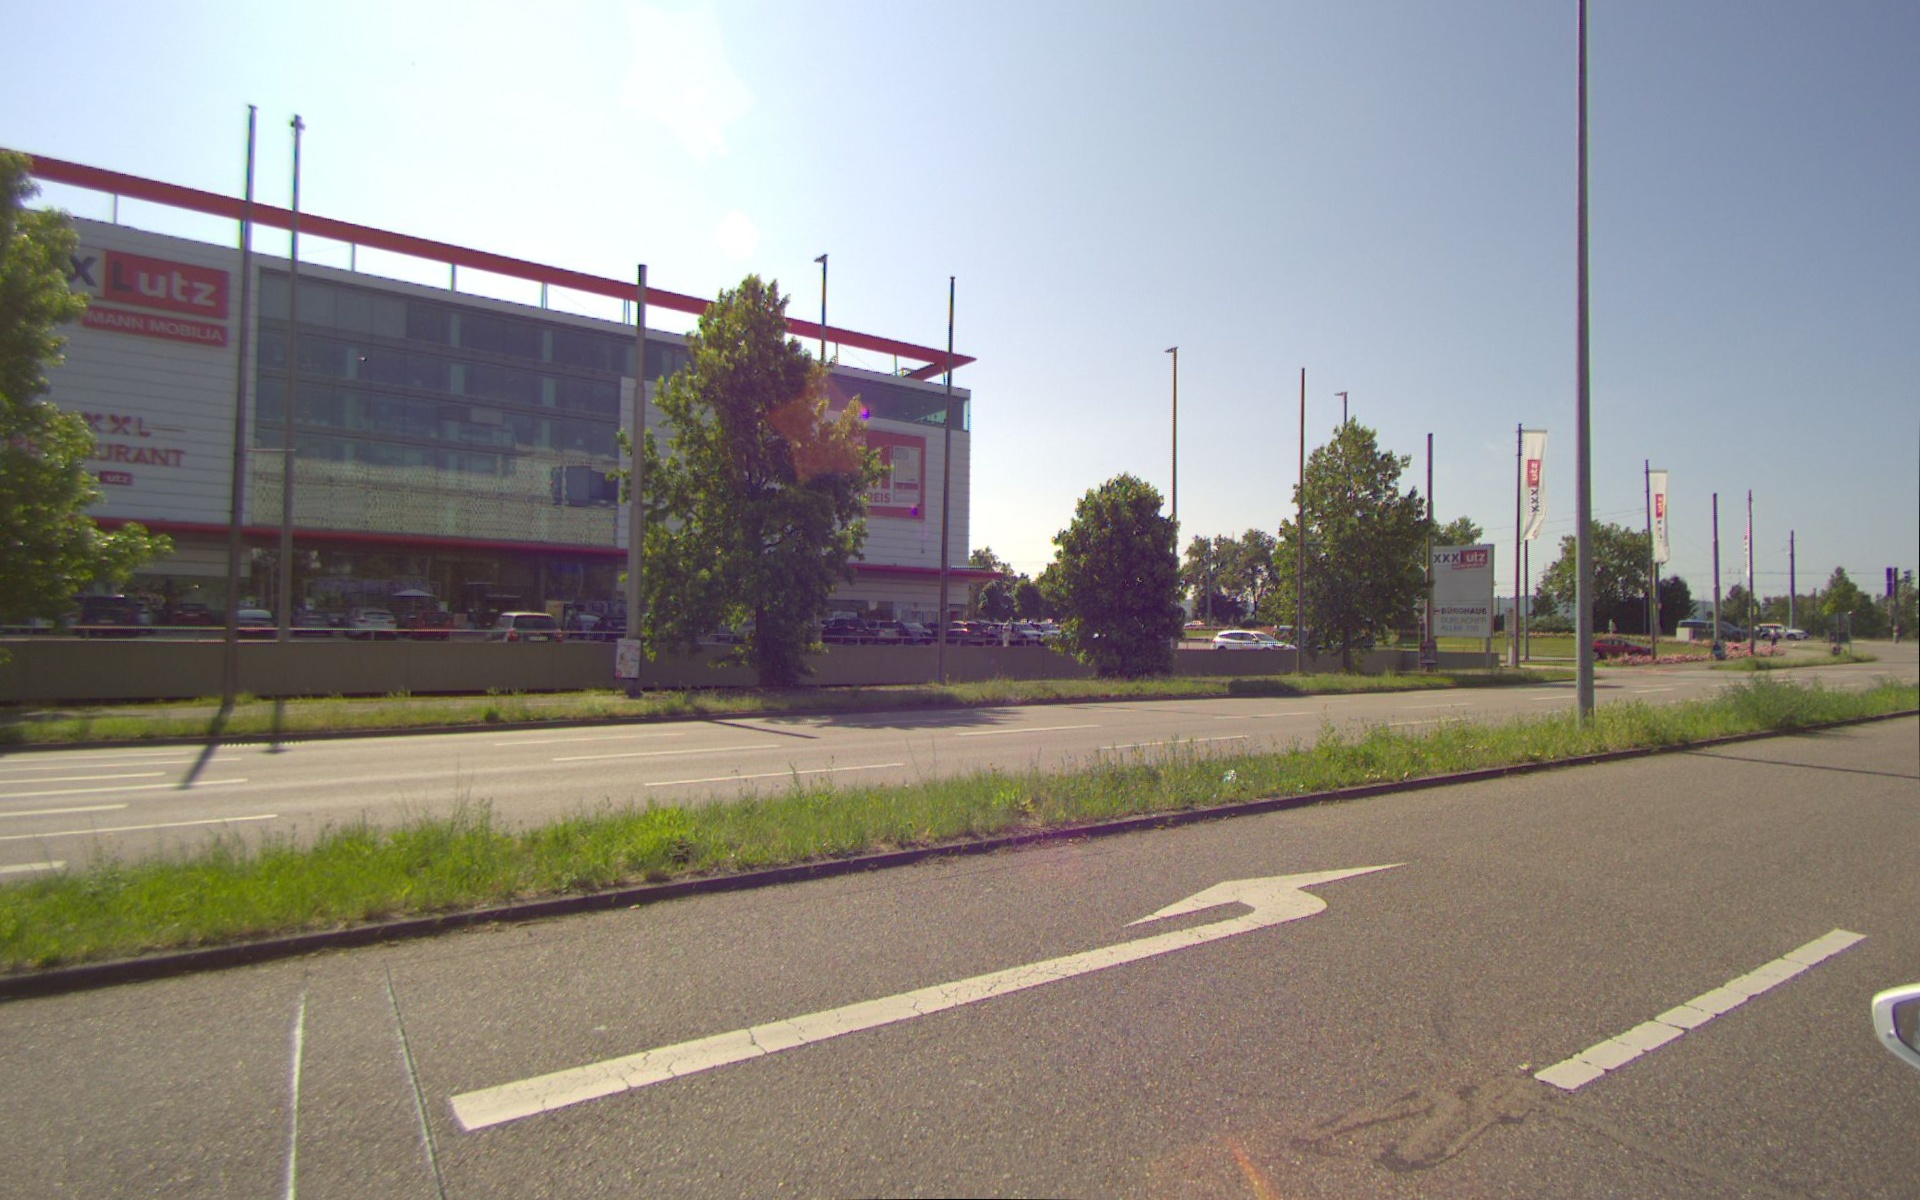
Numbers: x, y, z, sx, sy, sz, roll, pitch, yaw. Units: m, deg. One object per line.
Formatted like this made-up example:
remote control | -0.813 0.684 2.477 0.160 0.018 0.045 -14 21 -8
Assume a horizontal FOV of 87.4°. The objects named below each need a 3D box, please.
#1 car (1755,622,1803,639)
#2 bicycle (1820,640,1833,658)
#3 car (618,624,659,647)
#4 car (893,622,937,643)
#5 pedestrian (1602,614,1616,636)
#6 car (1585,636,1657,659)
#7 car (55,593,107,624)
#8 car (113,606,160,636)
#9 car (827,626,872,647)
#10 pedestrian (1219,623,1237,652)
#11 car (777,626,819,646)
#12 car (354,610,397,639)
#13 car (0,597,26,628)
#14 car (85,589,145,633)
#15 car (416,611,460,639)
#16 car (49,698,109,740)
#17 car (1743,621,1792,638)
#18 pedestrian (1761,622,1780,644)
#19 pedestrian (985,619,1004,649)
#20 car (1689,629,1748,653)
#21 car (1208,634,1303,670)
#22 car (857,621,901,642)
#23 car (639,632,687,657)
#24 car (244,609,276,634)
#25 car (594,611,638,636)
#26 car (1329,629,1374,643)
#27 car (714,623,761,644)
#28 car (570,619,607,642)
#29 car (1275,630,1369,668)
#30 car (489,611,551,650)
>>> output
car | 77.197 2.850 94.692 1.398 1.519 3.317 3 -3 -39
bicycle | 53.945 3.047 62.530 1.630 1.036 0.328 4 -4 -39
car | -19.997 2.176 62.428 1.501 1.347 3.066 3 -3 -36
car | -3.053 2.204 67.703 1.501 1.347 3.066 3 -3 -36
pedestrian | 59.077 2.275 91.423 0.907 1.998 0.712 3 -2 -31
car | 48.758 3.504 74.161 1.812 1.626 4.149 3 -3 -39
car | -41.606 0.416 47.580 1.501 1.347 3.066 3 -3 -36
car | -39.440 1.014 48.169 1.501 1.347 3.066 3 -3 -36
car | -7.105 2.346 64.472 1.501 1.310 3.067 3 -3 -35
pedestrian | 17.435 2.446 65.315 0.744 1.882 0.848 1 -2 -35
car | -11.083 2.450 68.603 1.591 1.244 3.066 3 -3 -36
car | -28.614 1.195 49.148 1.501 1.347 3.192 3 -3 -36
car | -43.493 0.564 45.373 1.501 1.347 2.990 3 -3 -36
car | -36.364 0.498 43.297 1.676 1.781 3.066 3 -3 -36
car | -26.881 1.280 51.675 1.501 1.347 3.192 3 -3 -36
car | -24.167 3.243 27.577 1.062 0.988 1.922 3 -3 -37
car | 74.176 2.699 92.296 1.397 1.519 3.361 3 -3 -37
pedestrian | 64.235 2.647 79.599 0.893 1.729 0.838 0 -2 -23
pedestrian | 2.306 2.283 67.311 1.007 2.040 0.860 0 -2 -21
car | 67.377 3.597 89.328 1.785 1.951 3.989 0 0 -13
car | 14.754 2.586 50.355 1.854 1.648 4.381 3 -3 -37
car | -5.351 2.092 66.376 1.501 1.347 3.066 3 -3 -36
car | -17.216 2.579 58.156 1.688 1.347 3.066 3 -3 -36
car | -32.159 1.001 46.124 1.062 0.987 1.923 4 -6 -37
car | -19.357 1.318 56.509 1.501 1.347 3.066 3 -3 -36
car | 38.300 3.526 98.280 1.713 1.347 3.821 3 -3 -36
car | -13.410 1.999 60.472 1.466 1.214 3.475 3 -3 -36
car | -22.503 1.859 60.764 1.289 1.347 3.113 3 -3 -36
car | 19.060 2.564 53.098 1.927 1.867 4.383 2 -3 -35
car | -12.865 0.876 29.307 1.062 1.073 2.494 3 -3 -37
